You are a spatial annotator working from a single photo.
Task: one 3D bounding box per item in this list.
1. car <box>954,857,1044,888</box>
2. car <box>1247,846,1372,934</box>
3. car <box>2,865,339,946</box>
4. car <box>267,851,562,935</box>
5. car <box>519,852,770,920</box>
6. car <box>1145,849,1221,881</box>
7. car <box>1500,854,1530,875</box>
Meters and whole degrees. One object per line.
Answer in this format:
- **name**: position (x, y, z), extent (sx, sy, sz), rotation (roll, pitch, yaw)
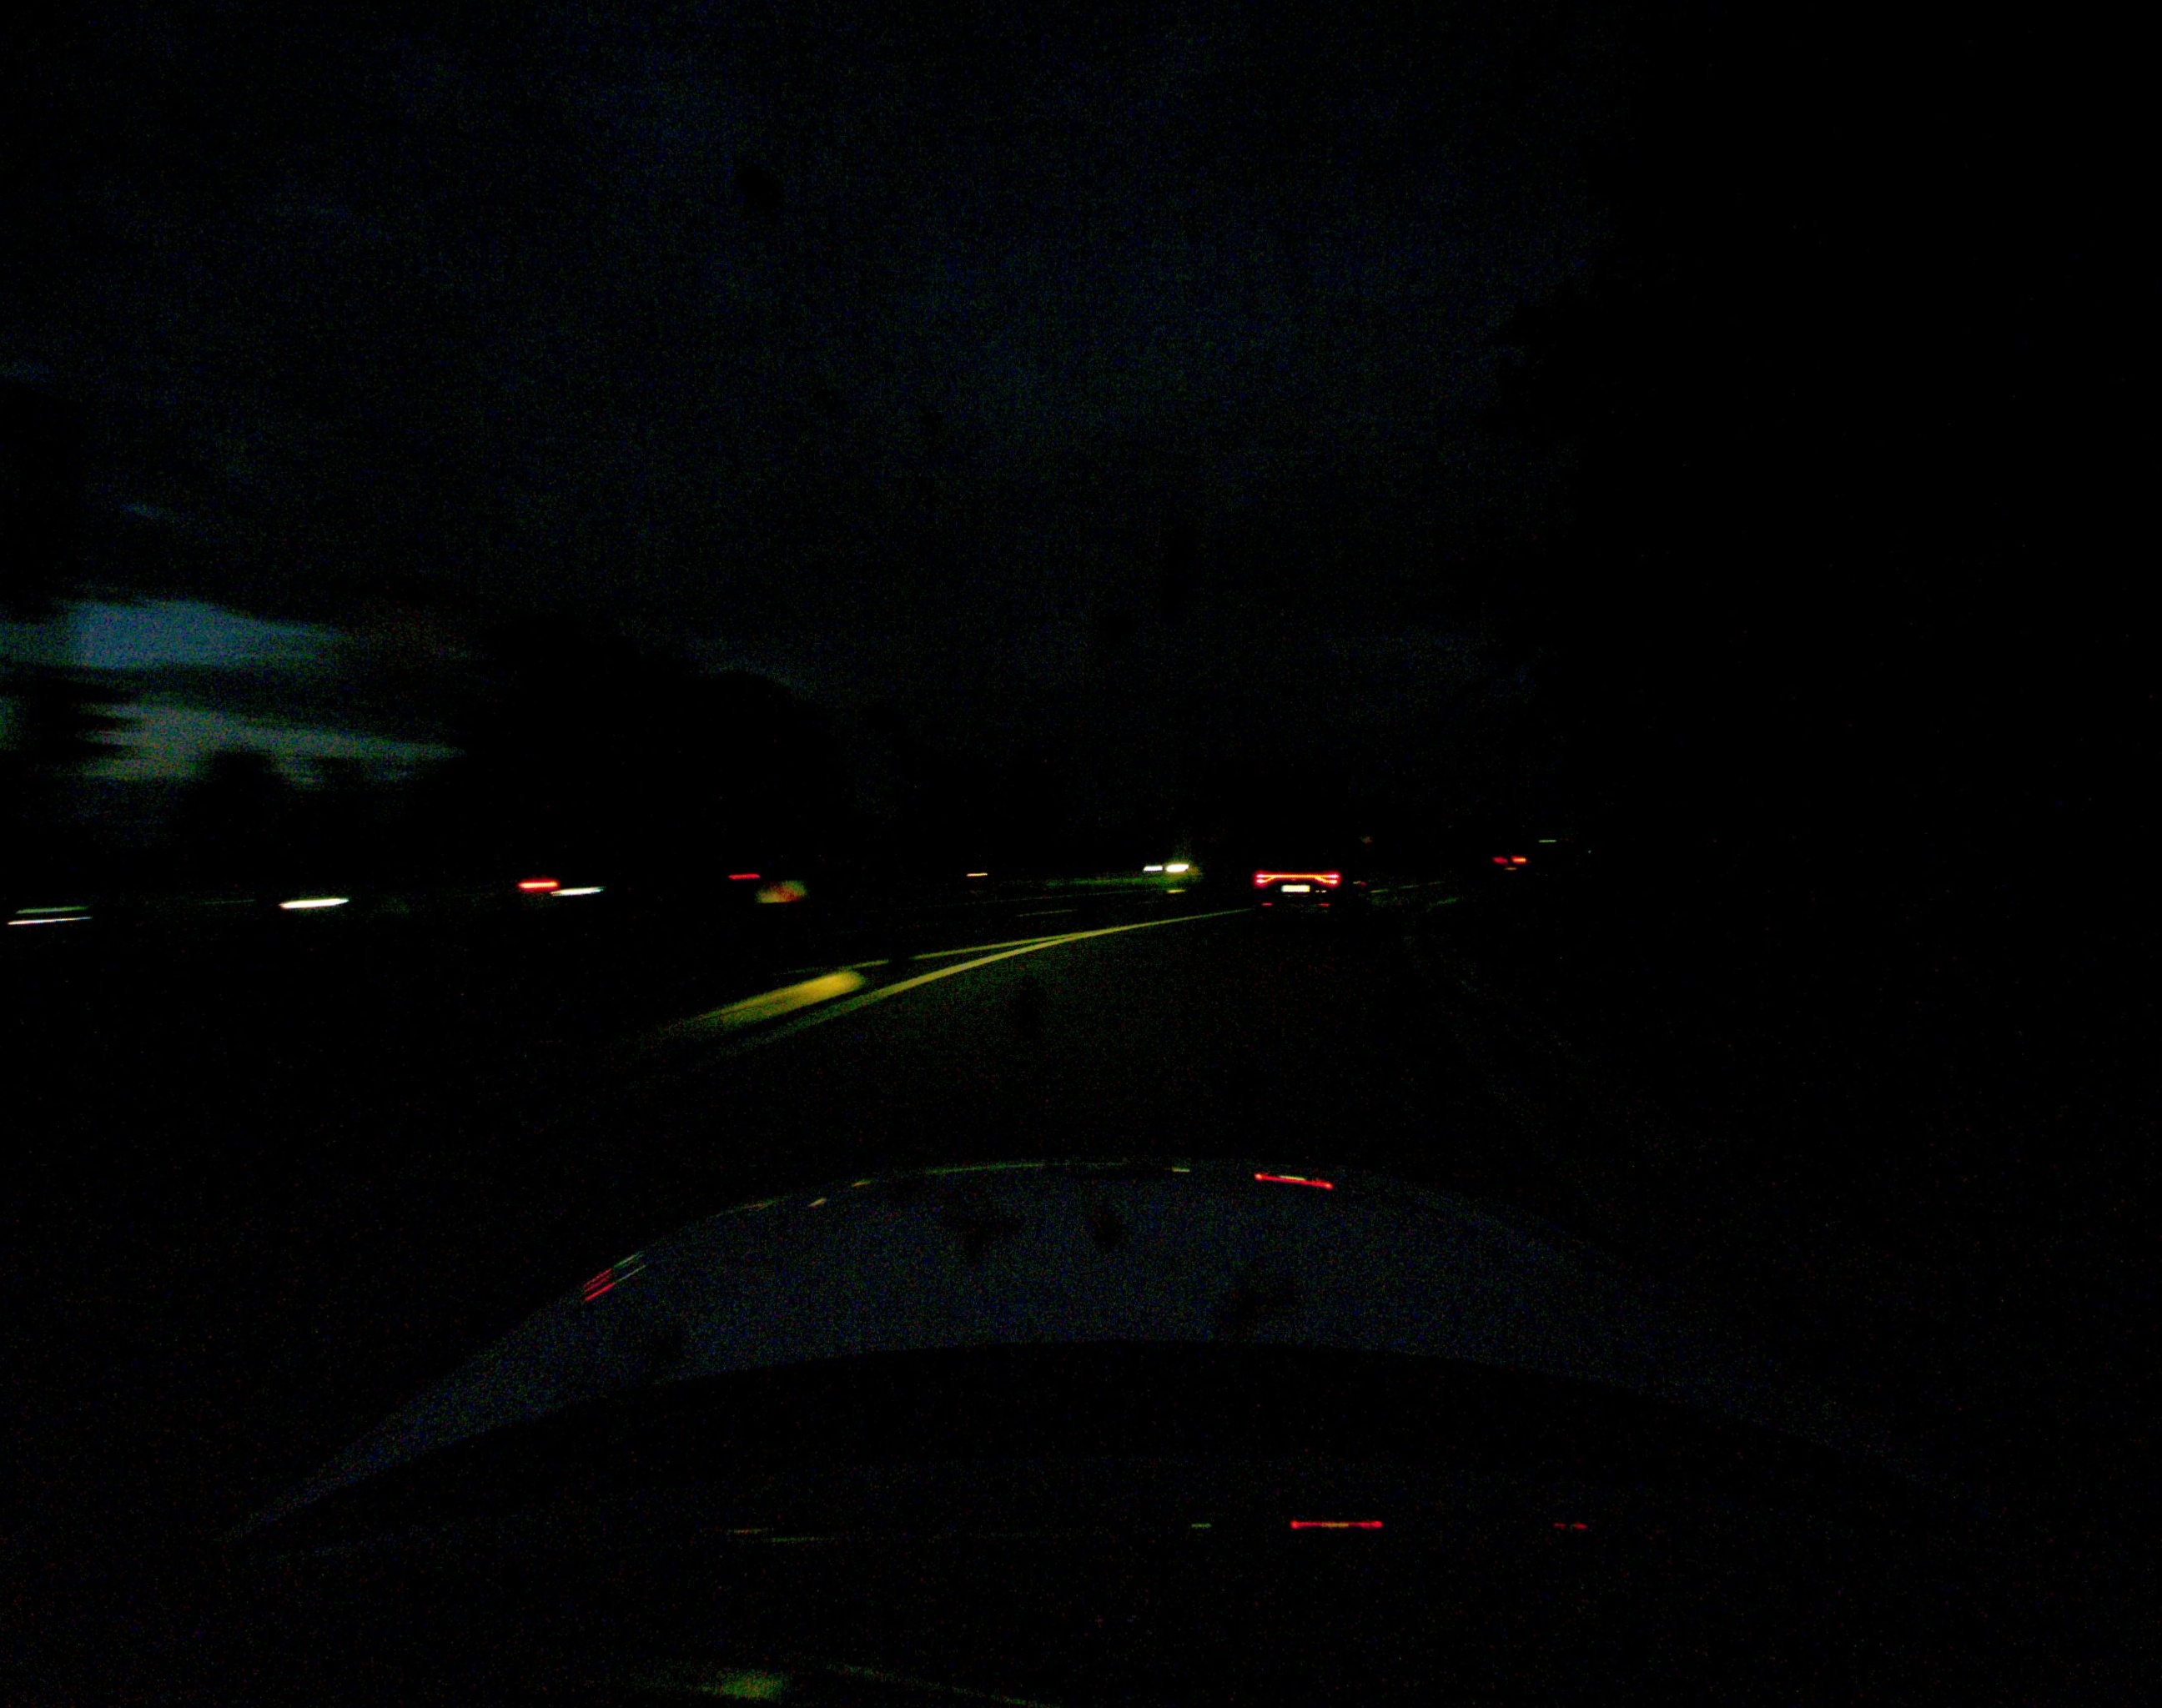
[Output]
- **car**: position (-4.127, 0.919, 41.604), extent (1.974, 1.453, 4.764), rotation (-2, -1, 34)
- **car**: position (5.072, 0.663, 17.625), extent (1.884, 1.619, 4.582), rotation (1, 0, 25)
- **car**: position (-20.060, 1.035, 18.218), extent (1.974, 1.453, 4.764), rotation (-1, 0, 33)
- **car**: position (-15.182, 0.842, 18.901), extent (1.974, 1.682, 4.903), rotation (-1, -2, 32)
- **car**: position (-10.478, 0.710, 20.006), extent (1.974, 1.453, 5.079), rotation (-2, -1, 34)
- **car**: position (5.558, 0.574, 43.755), extent (1.974, 1.570, 4.853), rotation (-2, -1, 35)
- **car**: position (30.753, 0.719, 57.664), extent (1.736, 1.453, 4.460), rotation (0, 0, 30)
